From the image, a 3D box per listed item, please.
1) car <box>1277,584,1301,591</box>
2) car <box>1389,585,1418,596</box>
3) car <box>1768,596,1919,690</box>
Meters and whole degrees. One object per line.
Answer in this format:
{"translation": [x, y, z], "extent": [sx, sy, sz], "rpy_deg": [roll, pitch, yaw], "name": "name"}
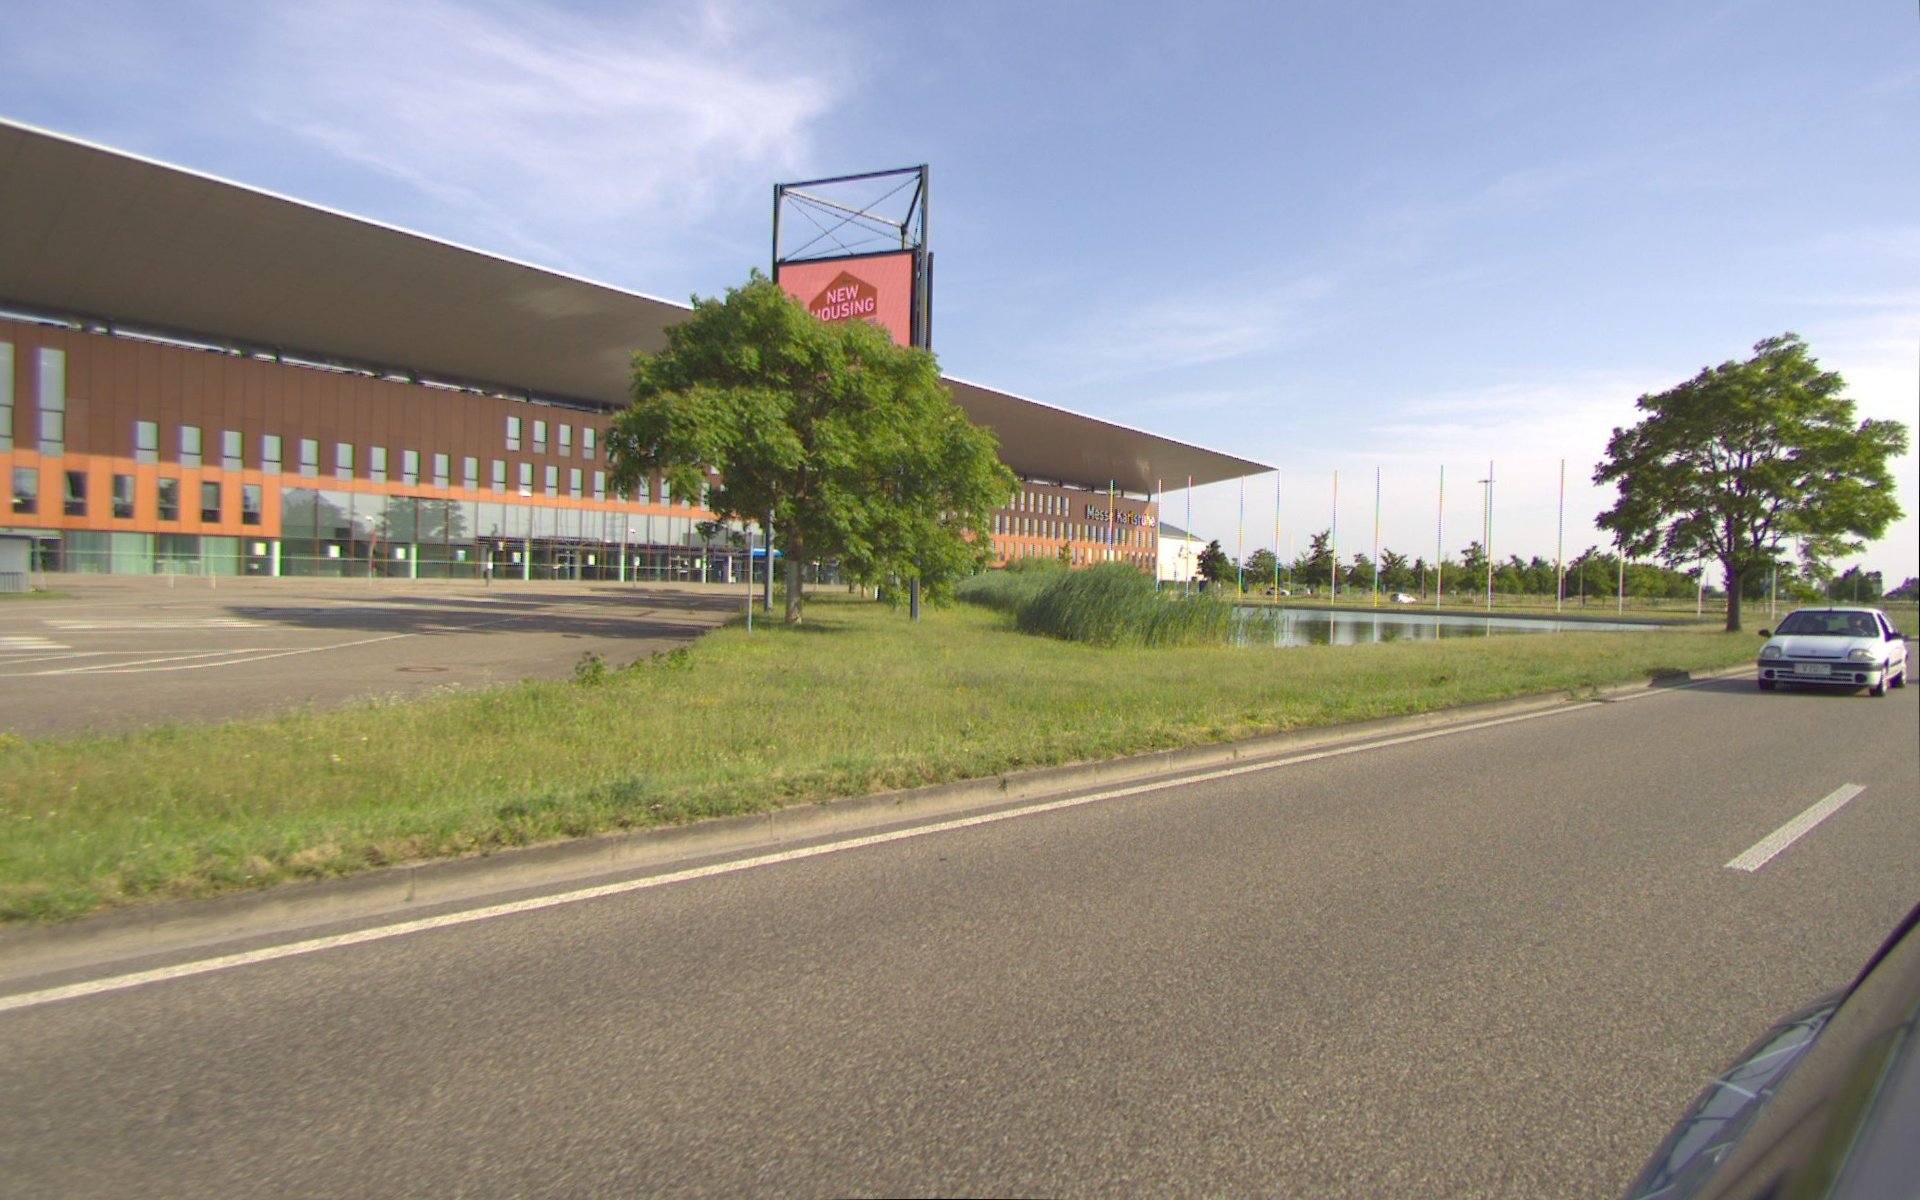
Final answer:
{"translation": [61.057, -2.303, 187.851], "extent": [1.461, 1.295, 4.203], "rpy_deg": [0, 1, -43], "name": "car"}
{"translation": [59.359, -1.264, 135.425], "extent": [3.493, 1.473, 1.714], "rpy_deg": [0, 1, -29], "name": "car"}
{"translation": [15.039, 0.652, 17.076], "extent": [3.391, 1.396, 1.577], "rpy_deg": [0, 1, -40], "name": "car"}
